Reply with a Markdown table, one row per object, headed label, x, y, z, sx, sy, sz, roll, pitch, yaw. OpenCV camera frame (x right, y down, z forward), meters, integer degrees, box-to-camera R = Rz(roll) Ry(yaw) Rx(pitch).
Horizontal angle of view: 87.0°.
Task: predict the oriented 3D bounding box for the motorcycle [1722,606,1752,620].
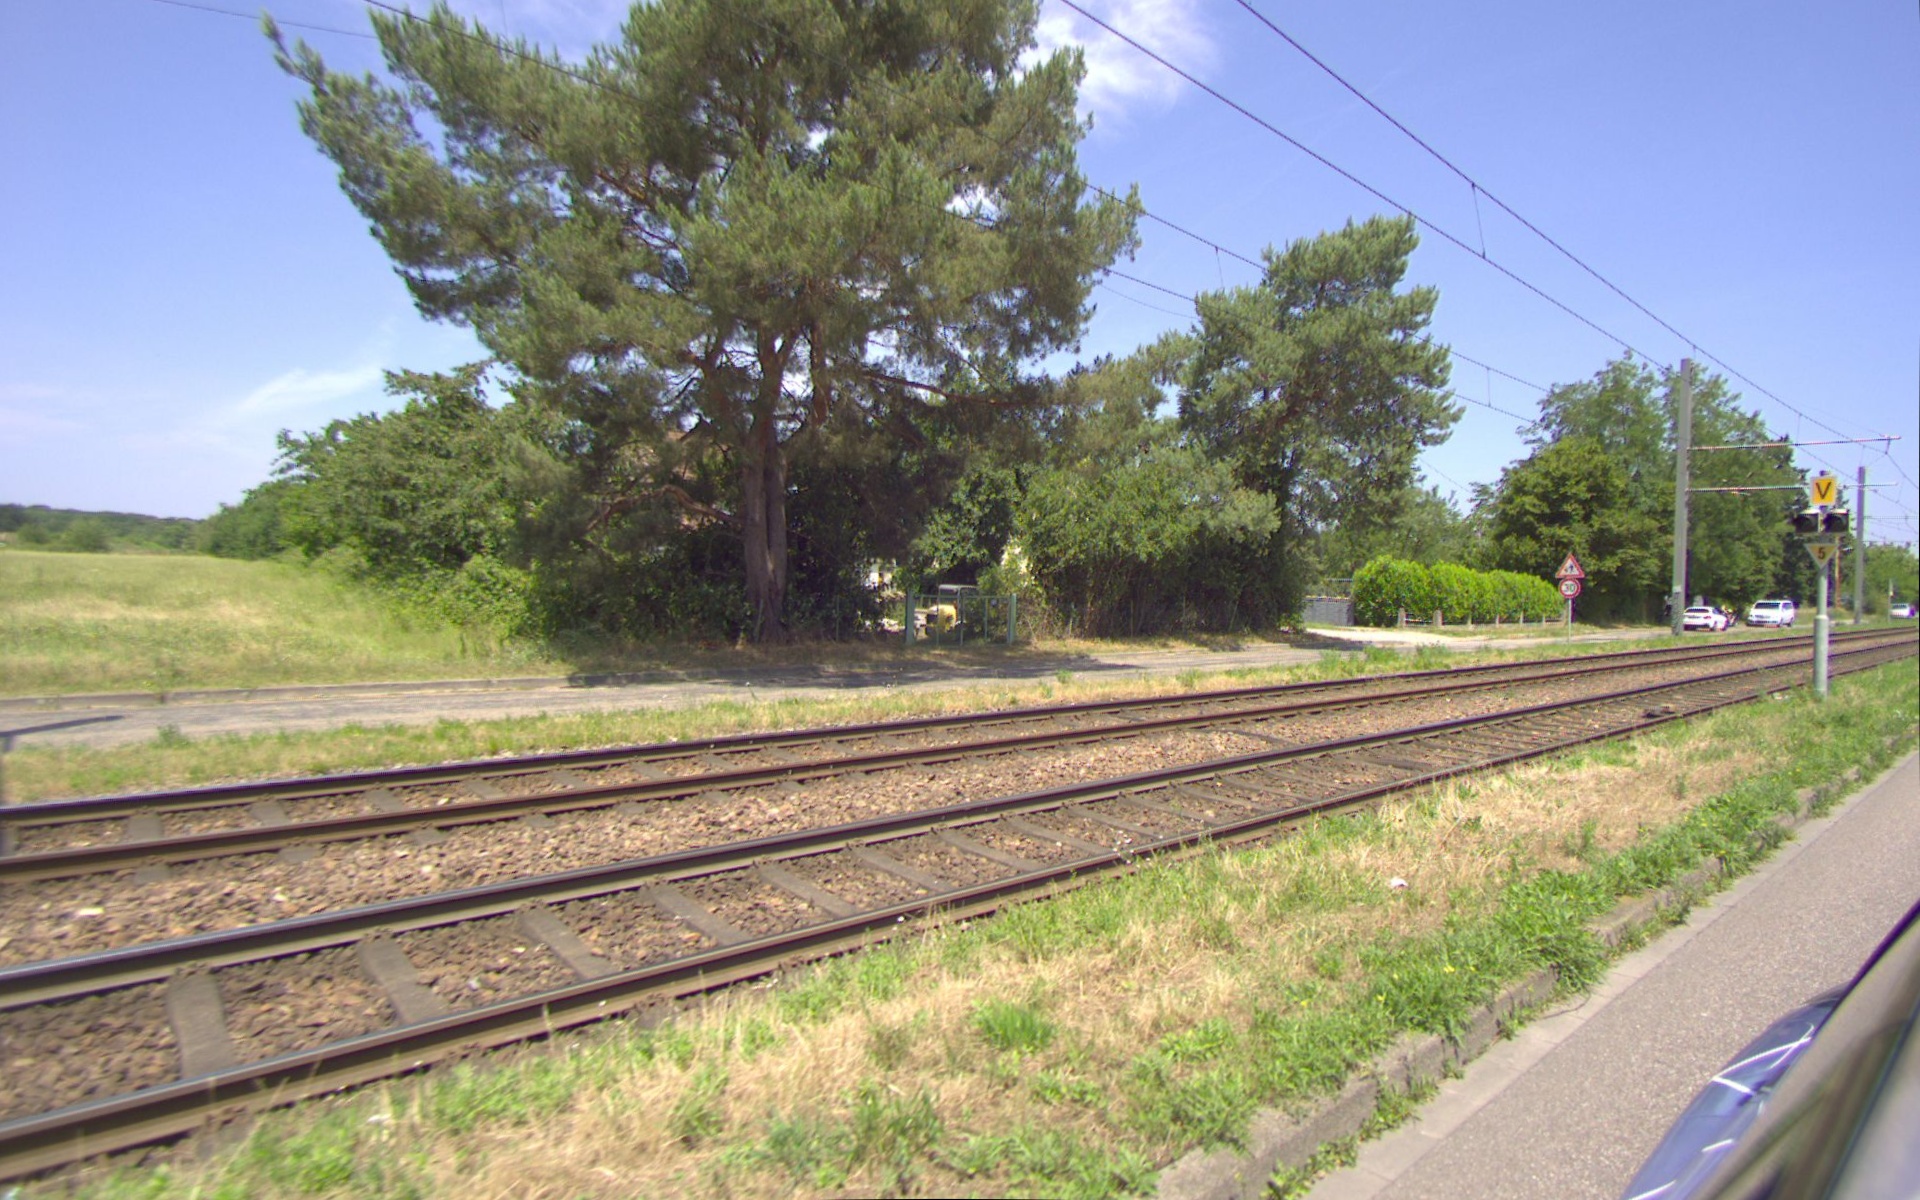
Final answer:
| label | x | y | z | sx | sy | sz | roll | pitch | yaw |
| --- | --- | --- | --- | --- | --- | --- | --- | --- | --- |
| motorcycle | 50.955 | 0.846 | 66.382 | 2.738 | 0.919 | 0.859 | 0 | 0 | -37 |

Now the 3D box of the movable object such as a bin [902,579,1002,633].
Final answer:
| label | x | y | z | sx | sy | sz | roll | pitch | yaw |
| --- | --- | --- | --- | --- | --- | --- | --- | --- | --- |
| movable object such as a bin | -0.257 | 0.178 | 33.675 | 2.647 | 1.652 | 1.997 | 1 | 2 | -41 |

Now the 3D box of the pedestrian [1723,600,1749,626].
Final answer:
| label | x | y | z | sx | sy | sz | roll | pitch | yaw |
| --- | --- | --- | --- | --- | --- | --- | --- | --- | --- |
| pedestrian | 50.889 | 0.848 | 66.356 | 0.863 | 1.684 | 1.172 | 0 | 0 | -36 |

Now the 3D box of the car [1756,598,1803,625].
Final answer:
| label | x | y | z | sx | sy | sz | roll | pitch | yaw |
| --- | --- | --- | --- | --- | --- | --- | --- | --- | --- |
| car | 58.678 | 0.792 | 72.472 | 4.507 | 1.849 | 1.862 | 0 | 0 | -41 |

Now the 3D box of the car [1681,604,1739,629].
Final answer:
| label | x | y | z | sx | sy | sz | roll | pitch | yaw |
| --- | --- | --- | --- | --- | --- | --- | --- | --- | --- |
| car | 44.219 | 0.958 | 59.650 | 3.930 | 1.401 | 1.921 | 0 | 1 | -41 |

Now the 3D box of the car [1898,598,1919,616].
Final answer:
| label | x | y | z | sx | sy | sz | roll | pitch | yaw |
| --- | --- | --- | --- | --- | --- | --- | --- | --- | --- |
| car | 115.927 | 0.831 | 123.275 | 4.507 | 2.150 | 1.943 | 0 | 0 | -41 |
